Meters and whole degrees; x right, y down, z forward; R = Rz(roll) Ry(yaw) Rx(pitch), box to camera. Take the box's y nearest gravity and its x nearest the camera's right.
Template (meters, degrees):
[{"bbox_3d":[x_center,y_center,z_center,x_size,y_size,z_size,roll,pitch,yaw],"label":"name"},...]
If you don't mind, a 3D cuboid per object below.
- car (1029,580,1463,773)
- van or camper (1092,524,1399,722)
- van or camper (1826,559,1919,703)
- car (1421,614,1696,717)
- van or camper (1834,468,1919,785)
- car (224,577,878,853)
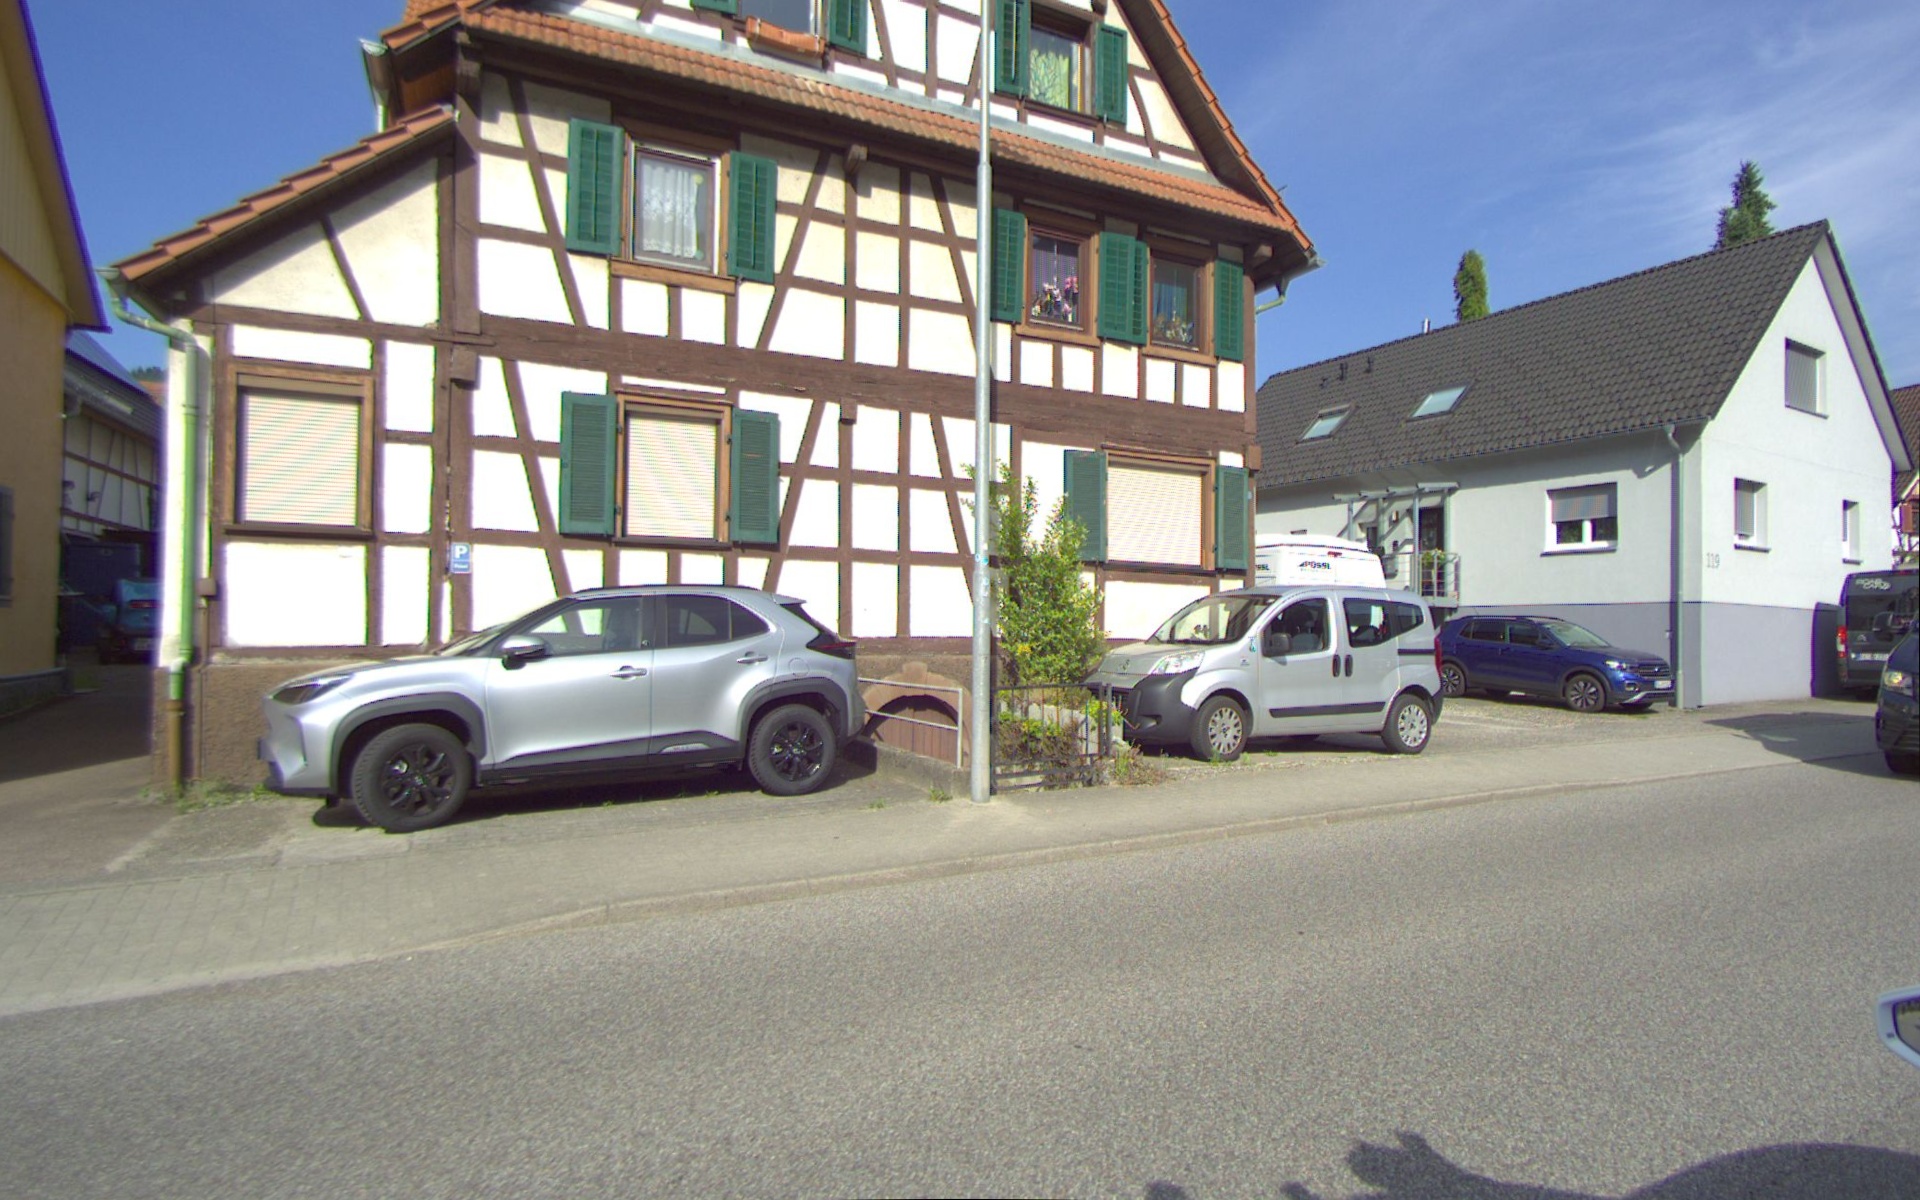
[{"bbox_3d":[3.023,0.716,10.562,4.210,1.686,1.895,1,-1,-26],"label":"car"},{"bbox_3d":[4.390,0.339,16.533,2.160,2.699,5.166,1,0,-21],"label":"van or camper"},{"bbox_3d":[19.607,0.614,19.617,5.827,2.589,2.140,1,-2,-28],"label":"van or camper"},{"bbox_3d":[10.758,1.088,18.333,1.884,1.570,3.901,1,0,-29],"label":"car"},{"bbox_3d":[12.310,0.294,10.743,7.038,2.977,2.186,1,-1,-29],"label":"van or camper"},{"bbox_3d":[-2.830,0.708,7.474,4.046,1.539,1.876,1,-3,-30],"label":"car"}]
